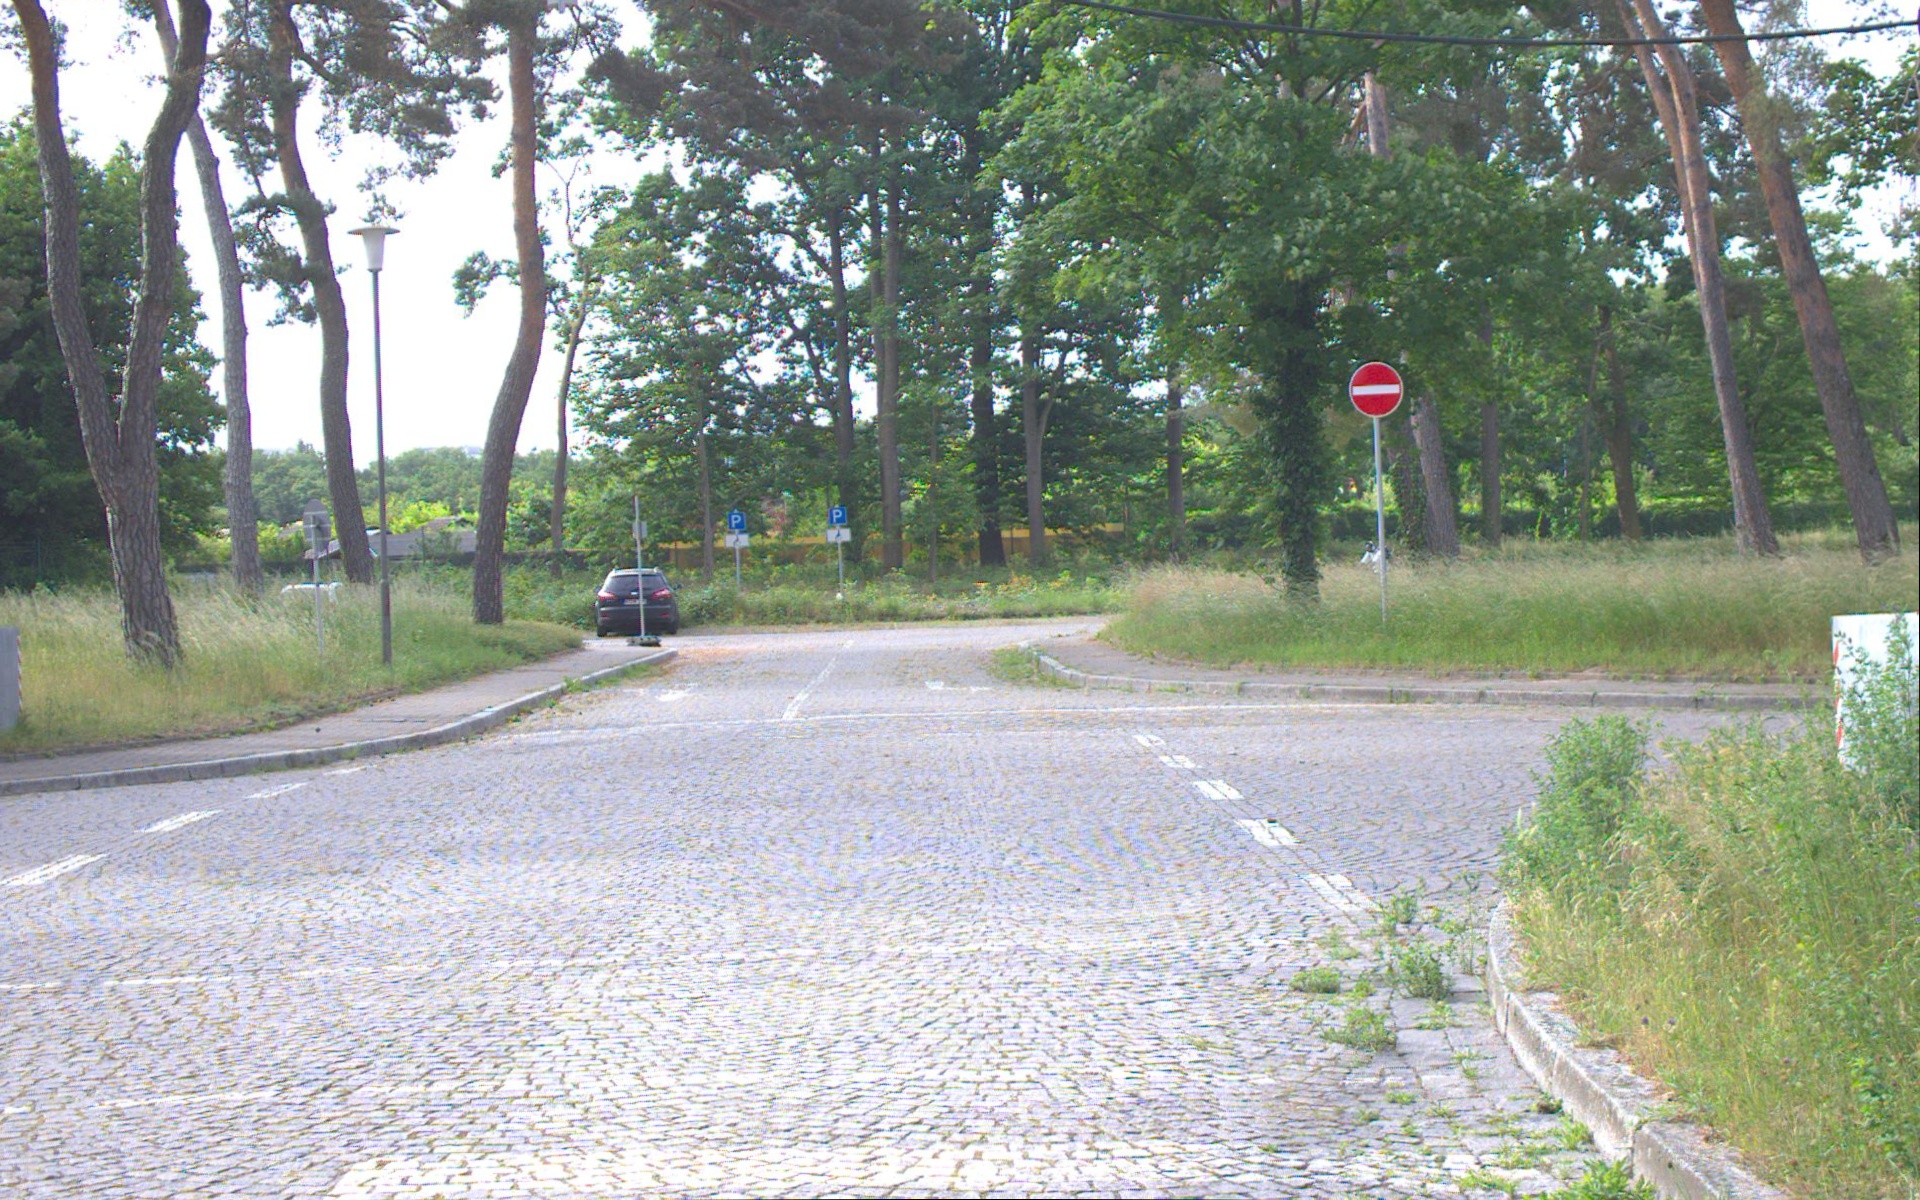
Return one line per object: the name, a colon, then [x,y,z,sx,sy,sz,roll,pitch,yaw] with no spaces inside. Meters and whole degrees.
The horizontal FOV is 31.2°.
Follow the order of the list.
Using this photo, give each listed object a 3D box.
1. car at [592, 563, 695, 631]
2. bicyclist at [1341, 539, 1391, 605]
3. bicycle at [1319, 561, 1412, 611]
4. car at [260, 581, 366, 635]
car: [-7.281,-0.092,79.427,1.993,1.503,4.000,0,1,0]
bicyclist: [9.450,-0.651,80.016,0.974,1.505,0.807,-2,1,-4]
bicycle: [9.441,-0.337,80.027,1.986,1.091,0.810,-2,1,-4]
car: [-15.131,0.167,80.545,1.689,1.152,4.000,-2,1,0]
